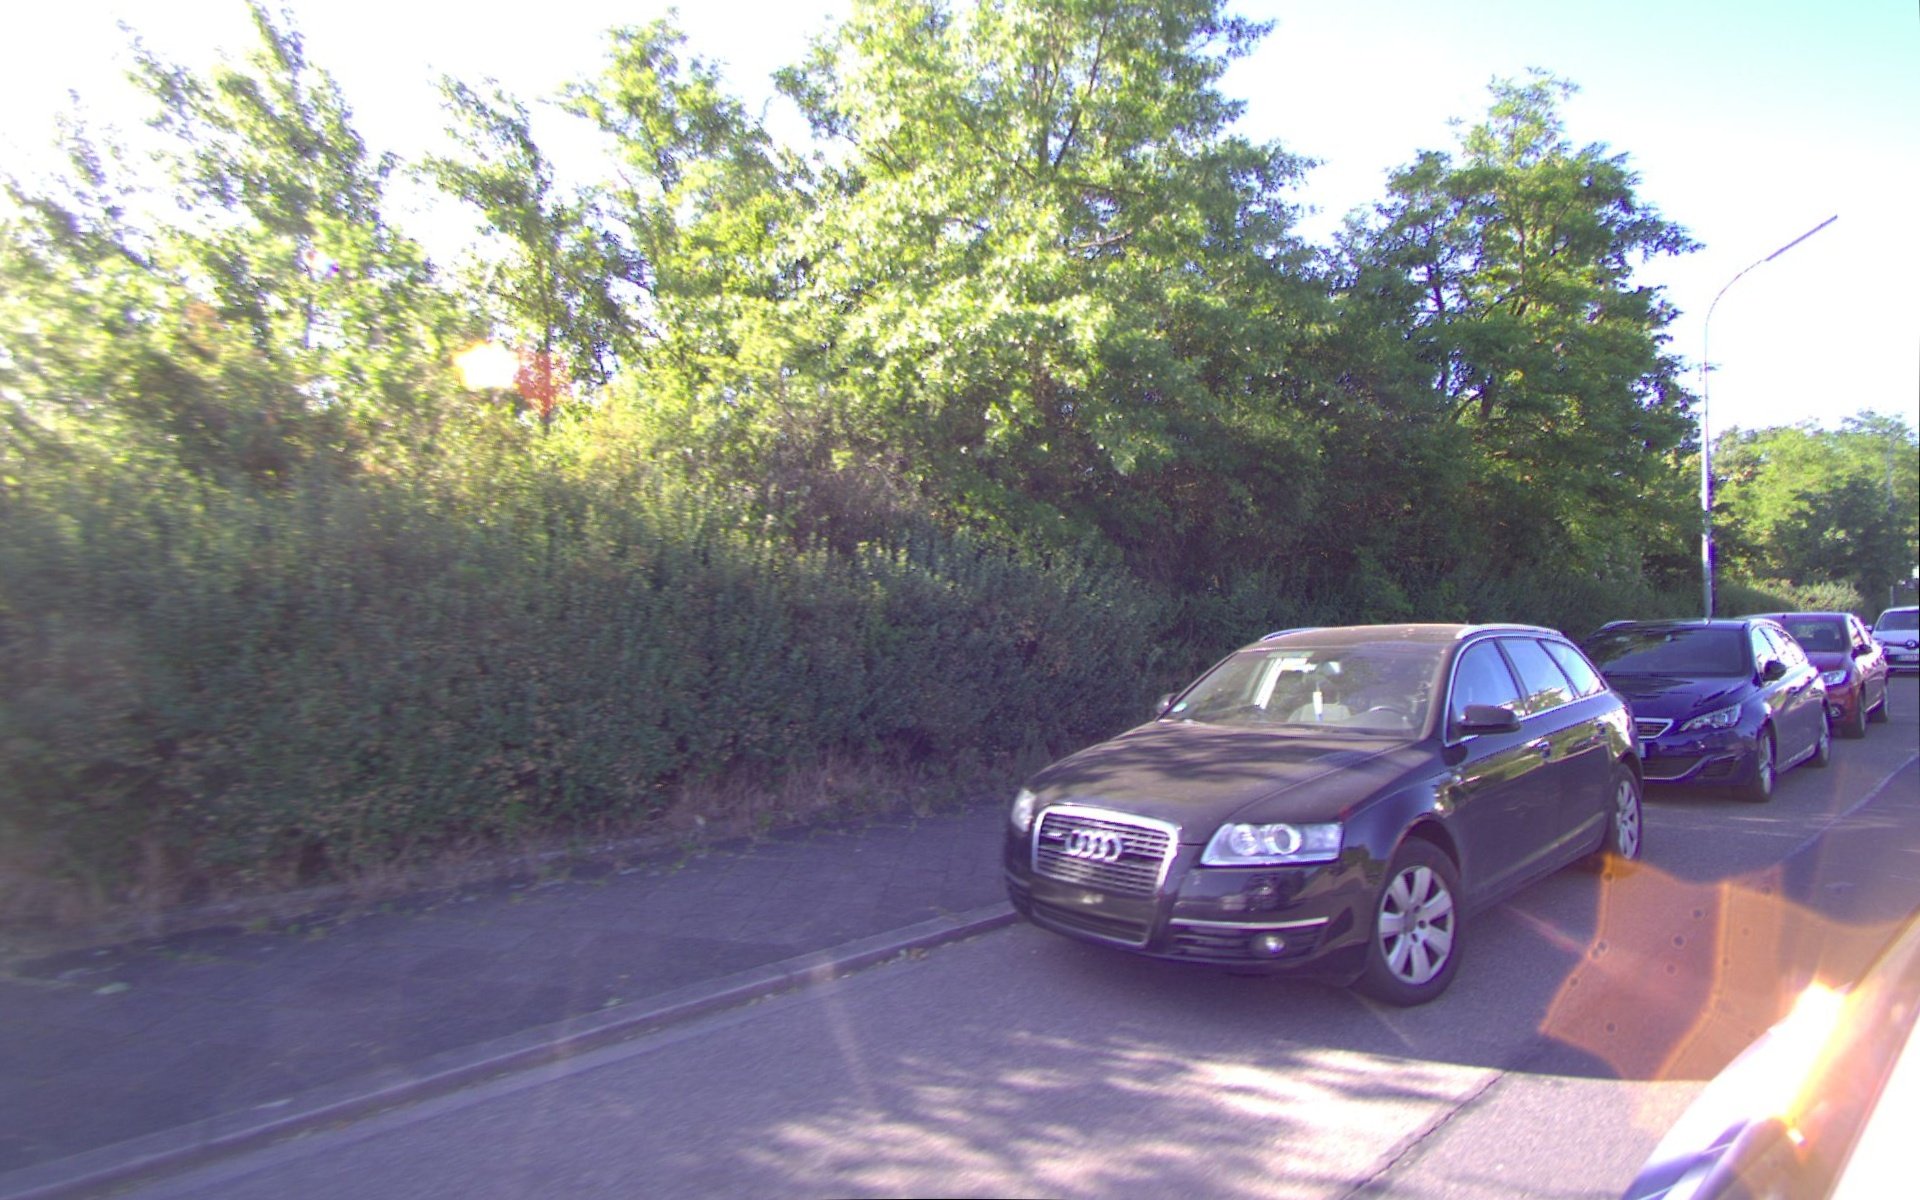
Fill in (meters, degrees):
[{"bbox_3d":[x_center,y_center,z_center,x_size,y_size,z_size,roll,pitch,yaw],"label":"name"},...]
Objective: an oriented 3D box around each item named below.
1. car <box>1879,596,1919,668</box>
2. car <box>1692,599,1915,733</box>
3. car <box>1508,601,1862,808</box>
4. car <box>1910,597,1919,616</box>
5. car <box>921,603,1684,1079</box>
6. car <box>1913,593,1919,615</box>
[{"bbox_3d":[22.221,0.686,22.951,3.493,1.558,1.558,0,-3,-41],"label":"car"},{"bbox_3d":[11.188,0.787,13.346,3.772,1.506,1.656,0,-3,-42],"label":"car"},{"bbox_3d":[6.909,0.790,9.431,4.576,1.463,1.656,0,-3,-42],"label":"car"},{"bbox_3d":[84.430,0.572,86.892,1.745,1.717,4.152,1,0,-44],"label":"car"},{"bbox_3d":[2.122,0.782,5.317,4.576,1.432,1.755,0,-3,-42],"label":"car"},{"bbox_3d":[93.237,0.397,95.719,1.988,2.042,4.453,1,0,-45],"label":"car"}]
